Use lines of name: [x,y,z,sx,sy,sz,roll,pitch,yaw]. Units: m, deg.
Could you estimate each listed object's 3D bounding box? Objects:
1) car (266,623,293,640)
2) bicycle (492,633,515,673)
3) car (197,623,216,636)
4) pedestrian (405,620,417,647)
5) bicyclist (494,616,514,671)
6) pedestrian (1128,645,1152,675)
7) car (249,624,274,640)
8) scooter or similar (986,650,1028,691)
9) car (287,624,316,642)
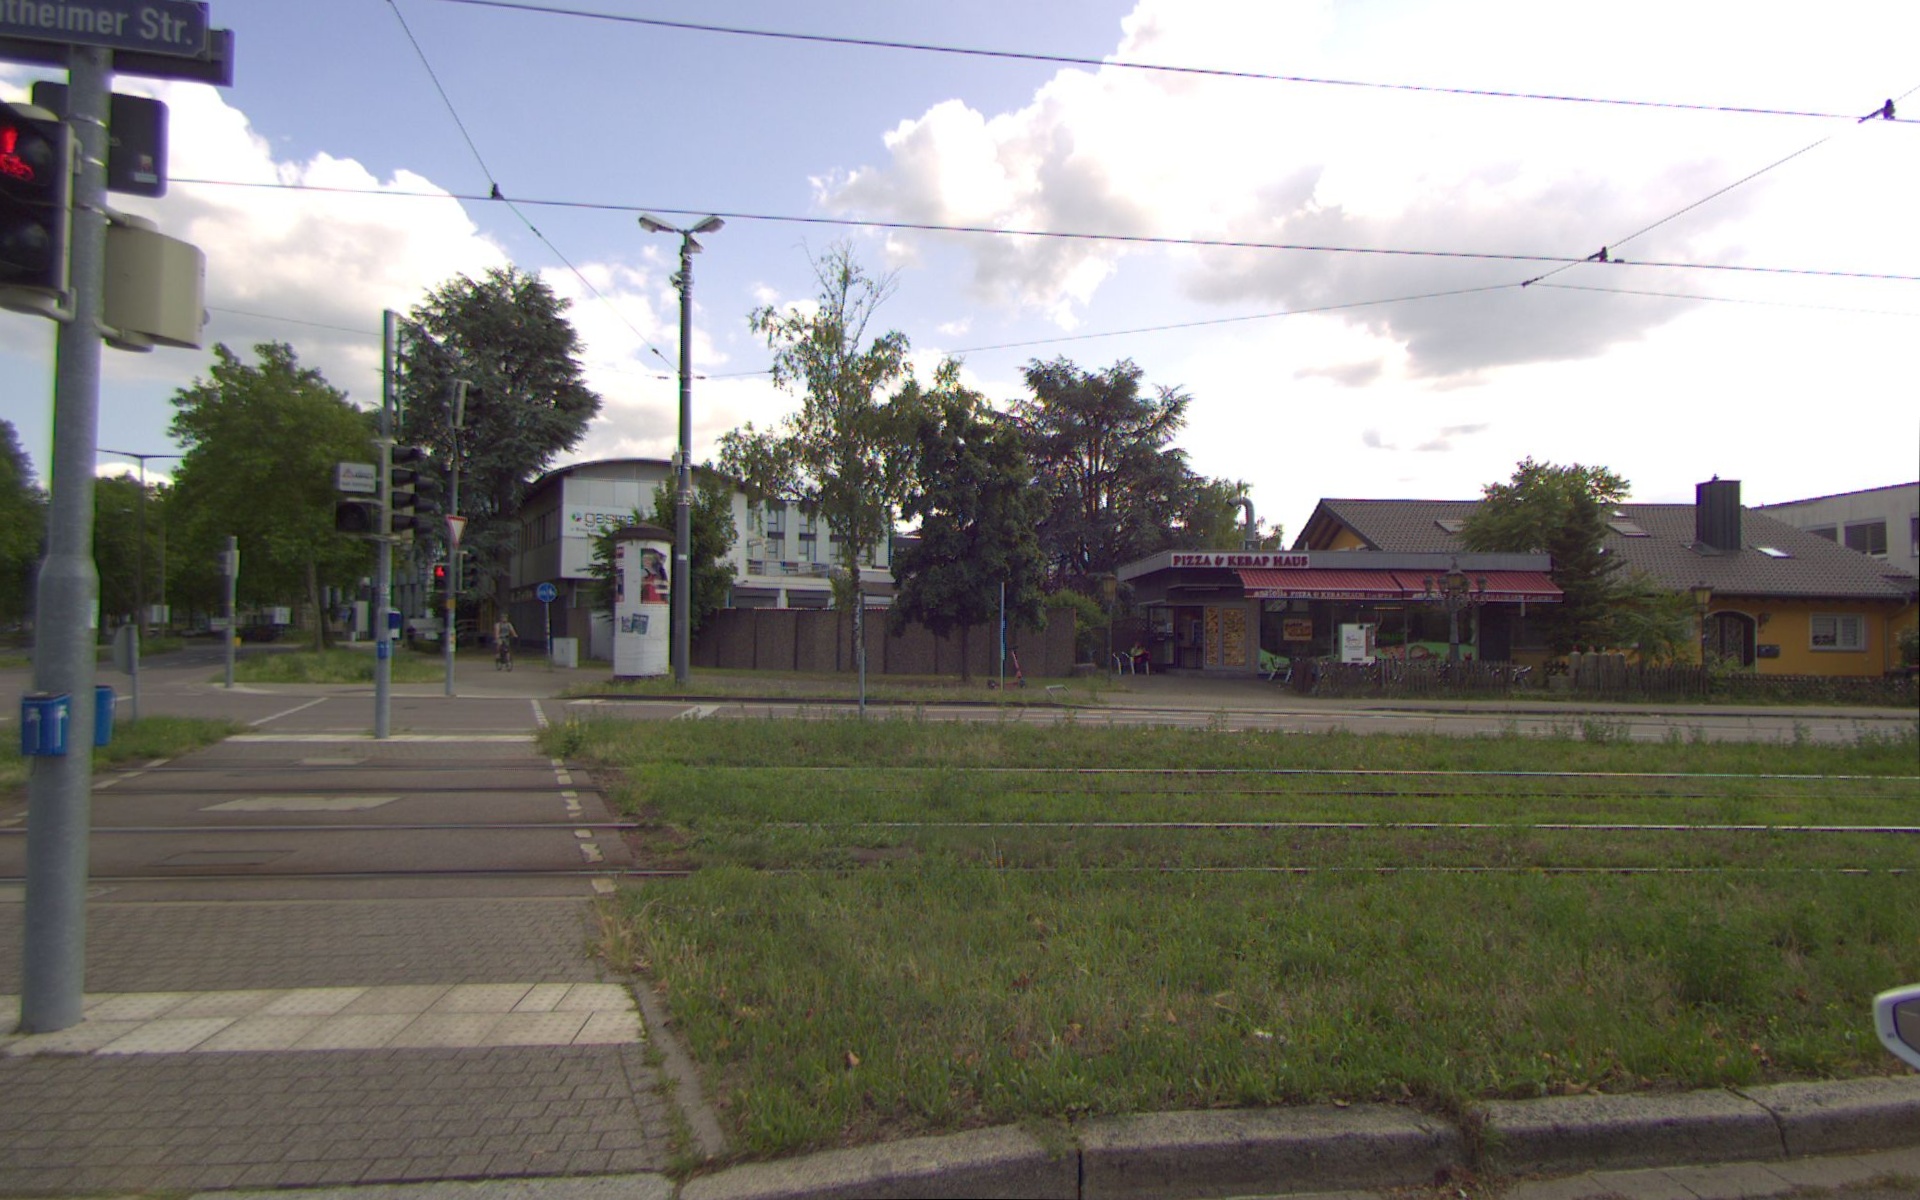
car: [-72.719,3.374,107.340,1.983,1.595,3.954,1,0,-39]
bicycle: [-15.290,1.758,33.634,0.534,1.252,1.937,1,0,-29]
car: [-106.207,4.155,141.628,1.983,1.595,3.954,1,0,-39]
pedestrian: [-33.440,2.044,61.192,0.615,1.590,0.555,1,0,-28]
bicyclist: [-15.264,1.451,33.609,0.534,1.834,0.540,1,0,-29]
pedestrian: [6.003,1.984,33.520,0.712,0.941,0.777,1,0,5]
car: [-78.700,3.566,113.155,1.983,1.595,3.954,1,0,-39]
scooter or similar: [1.318,1.959,28.095,1.082,1.073,0.402,2,0,15]
car: [-64.813,3.226,98.906,1.983,1.595,3.954,1,0,-39]
